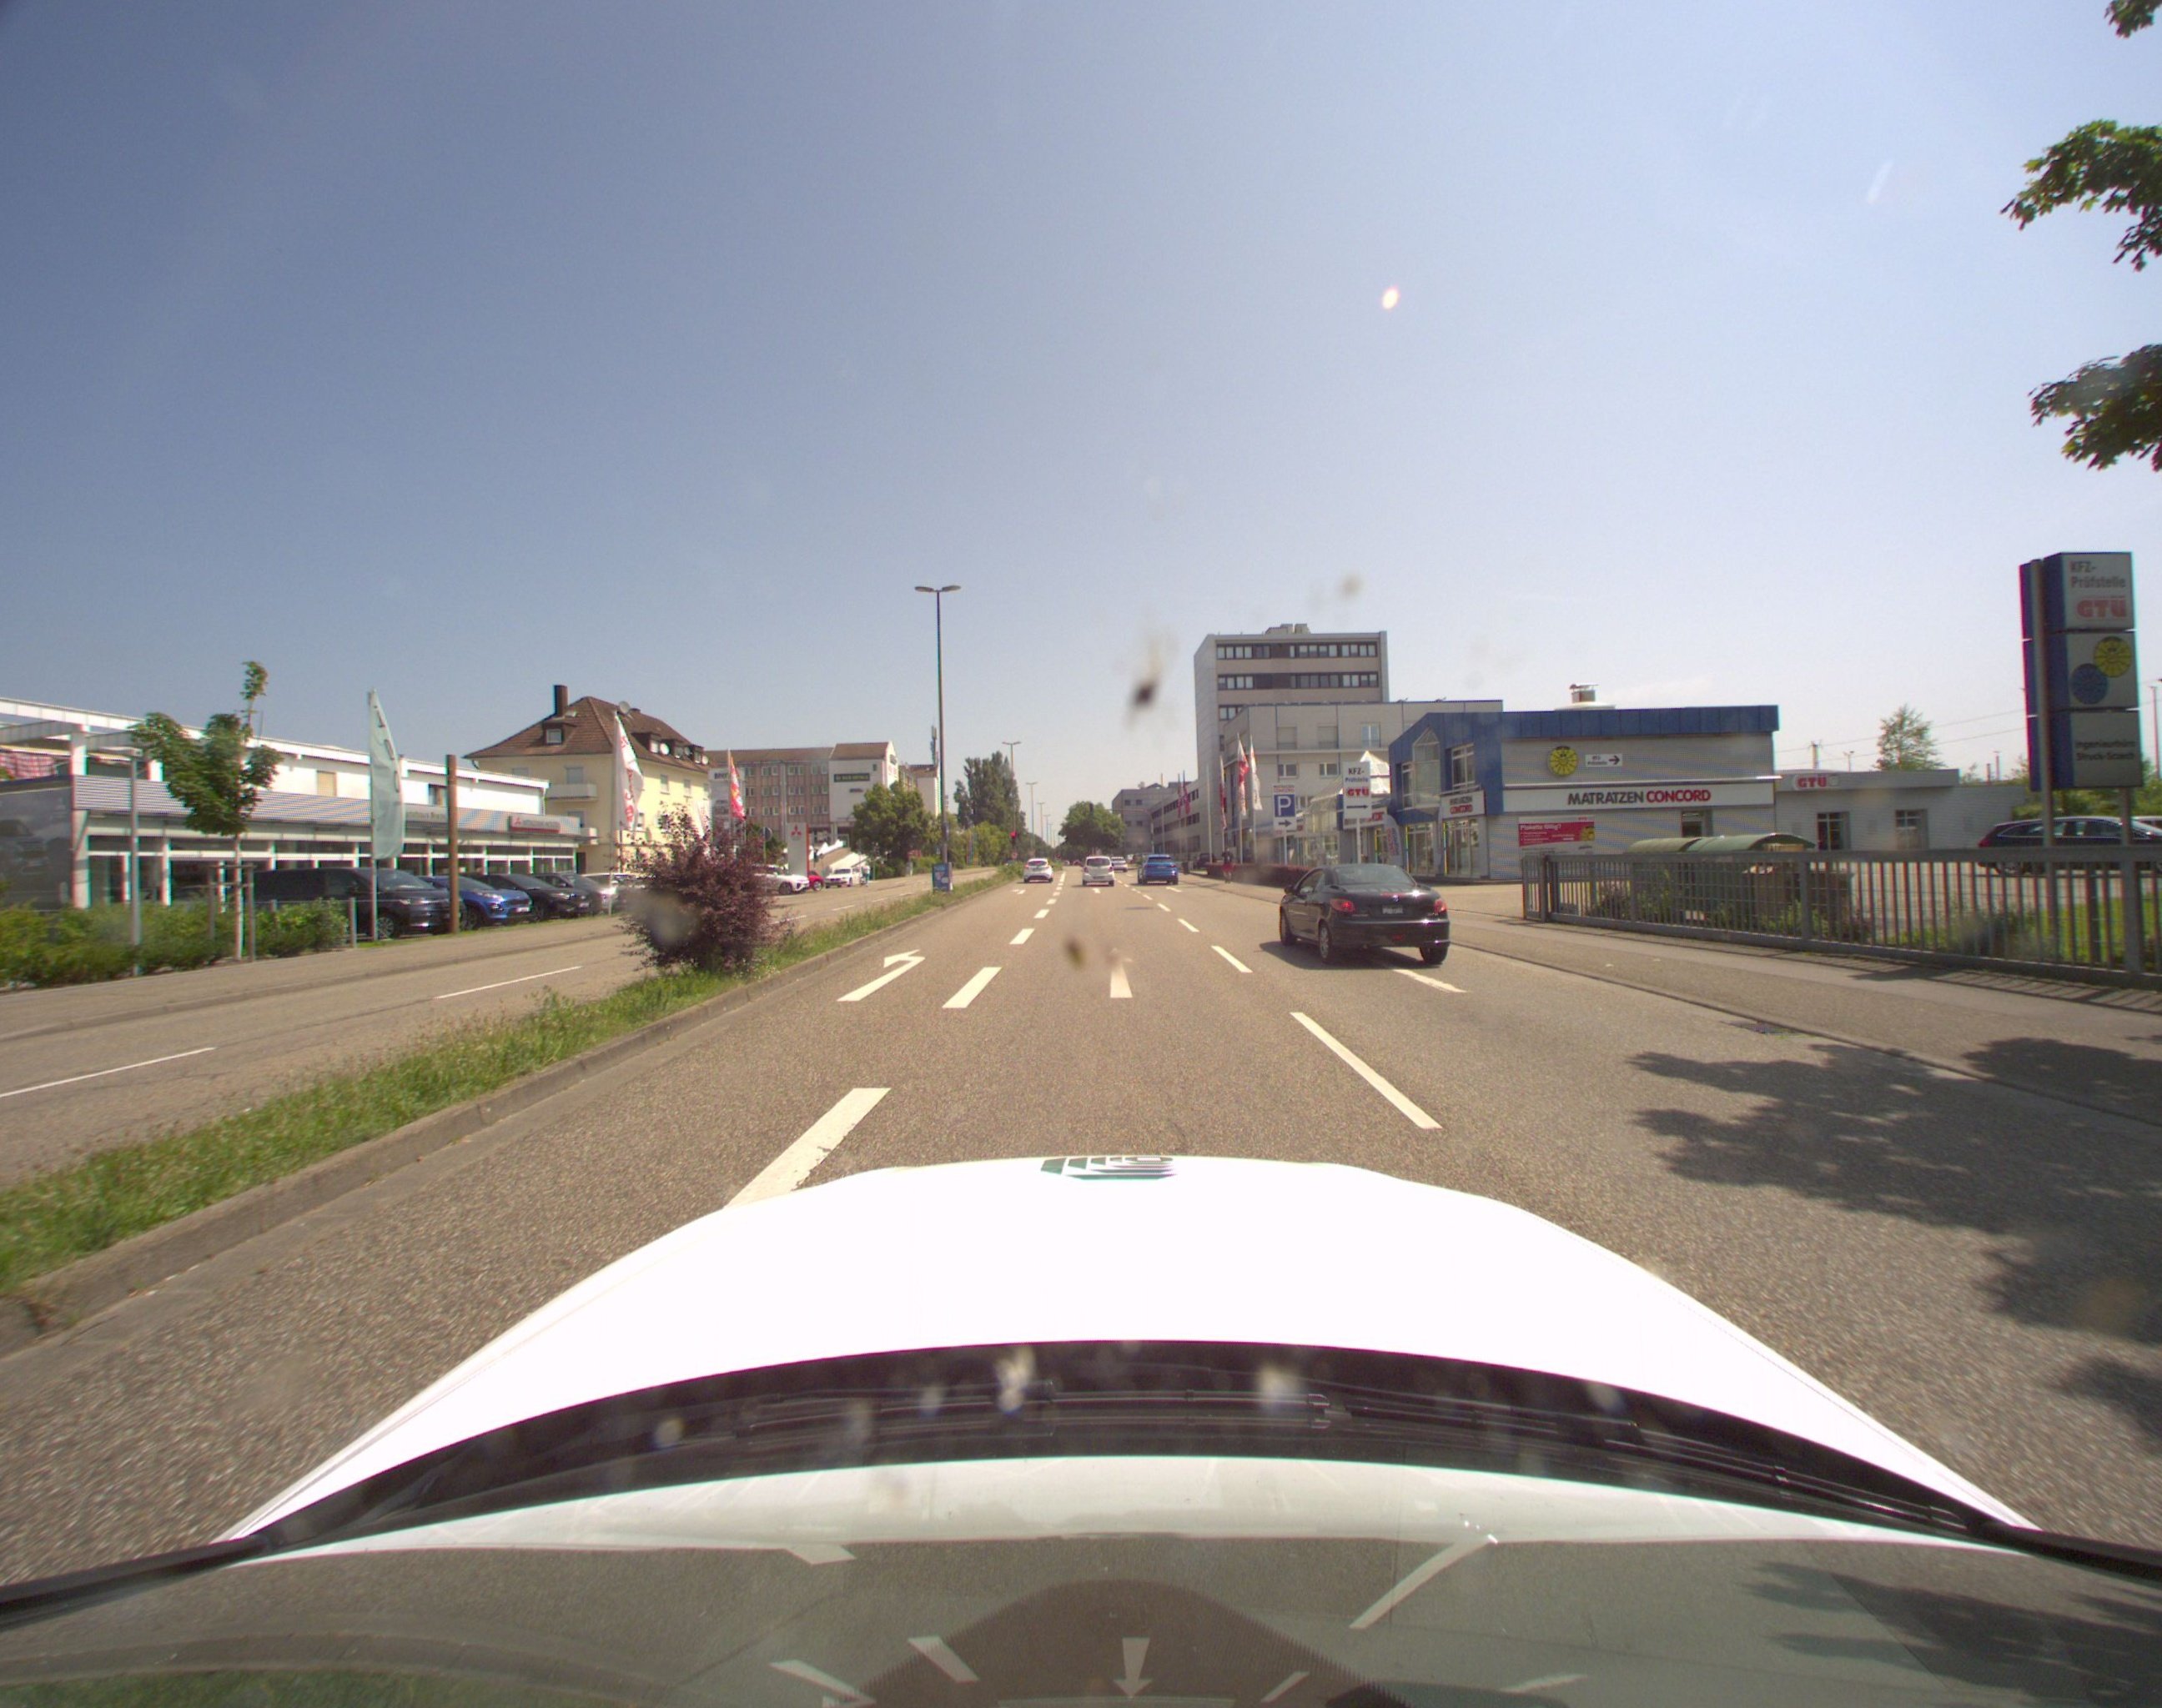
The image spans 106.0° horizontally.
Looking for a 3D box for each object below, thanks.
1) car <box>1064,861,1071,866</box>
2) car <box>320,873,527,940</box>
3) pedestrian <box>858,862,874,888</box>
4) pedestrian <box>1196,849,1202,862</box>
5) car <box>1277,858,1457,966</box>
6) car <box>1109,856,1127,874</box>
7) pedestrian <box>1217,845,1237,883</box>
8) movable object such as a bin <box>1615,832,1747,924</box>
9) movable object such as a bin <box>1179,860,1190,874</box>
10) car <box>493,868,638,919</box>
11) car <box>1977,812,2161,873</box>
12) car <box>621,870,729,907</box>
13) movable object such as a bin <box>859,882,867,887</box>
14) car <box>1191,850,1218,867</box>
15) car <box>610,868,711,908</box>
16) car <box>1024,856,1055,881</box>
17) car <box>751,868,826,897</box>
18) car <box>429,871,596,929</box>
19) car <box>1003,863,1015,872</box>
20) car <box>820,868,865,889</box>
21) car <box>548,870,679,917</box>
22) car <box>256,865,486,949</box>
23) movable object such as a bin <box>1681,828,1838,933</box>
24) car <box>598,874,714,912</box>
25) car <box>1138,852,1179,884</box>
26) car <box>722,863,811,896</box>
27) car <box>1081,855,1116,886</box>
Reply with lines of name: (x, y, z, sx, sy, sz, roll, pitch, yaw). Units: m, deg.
car: (-4.166, 2.970, 251.834, 1.815, 1.662, 3.997, -2, 0, -2)
car: (-18.282, 1.421, 22.824, 3.977, 1.608, 2.087, -2, 0, -3)
pedestrian: (-15.065, 1.484, 57.156, 0.738, 1.747, 1.034, -2, 0, 1)
pedestrian: (14.810, 0.160, 102.353, 0.590, 1.634, 0.524, -3, 0, 7)
car: (4.147, 0.765, 12.381, 1.620, 1.364, 3.608, -1, 0, 3)
car: (3.438, 0.986, 75.320, 1.553, 1.520, 3.607, -2, 0, 2)
pedestrian: (7.254, 0.506, 40.556, 0.782, 1.847, 0.936, -2, -1, 1)
movable object such as a bin: (10.360, 0.395, 14.140, 1.127, 1.470, 1.489, -2, 0, -1)
movable object such as a bin: (7.295, 0.903, 57.414, 0.549, 0.919, 0.652, -5, -1, -1)
car: (-18.346, 1.379, 29.128, 3.977, 1.568, 1.758, -2, 0, -3)
car: (26.470, -0.278, 21.172, 1.516, 1.472, 3.974, -2, 0, -19)
car: (-18.476, 1.535, 37.220, 3.977, 1.467, 1.758, -2, 0, -3)
movable object such as a bin: (-15.211, 2.127, 56.726, 0.415, 0.372, 0.506, -2, 0, 0)
car: (11.402, 0.442, 75.570, 1.838, 1.531, 4.195, 0, 0, -1)
car: (-20.091, 1.593, 38.987, 4.018, 1.624, 1.740, -2, 0, -37)
car: (-2.519, 0.866, 49.969, 1.683, 1.434, 3.710, -2, 0, -1)
car: (-18.913, 1.808, 52.746, 1.816, 1.642, 4.205, -2, 0, 37)
car: (-18.010, 1.430, 25.948, 3.977, 1.608, 1.758, -2, 0, -3)
car: (-12.516, 2.324, 141.879, 1.990, 1.486, 4.495, -2, 0, -4)
car: (-17.796, 1.795, 60.972, 1.769, 1.410, 4.761, -2, 0, 2)
car: (-18.373, 1.517, 32.180, 3.977, 1.608, 1.923, -2, 0, -3)
car: (-17.977, 1.297, 20.804, 3.977, 1.882, 1.998, -2, 0, -3)
movable object such as a bin: (10.352, 0.387, 12.515, 1.127, 1.470, 1.489, -2, 0, -1)
car: (-18.263, 1.649, 35.154, 3.977, 1.394, 1.858, -2, 0, -3)
car: (4.034, 0.717, 42.843, 1.822, 1.580, 3.605, -2, 0, 0)
car: (-18.642, 1.485, 48.485, 4.535, 1.709, 1.758, -2, 0, -3)
car: (0.894, 0.811, 42.663, 1.742, 1.520, 3.745, -1, 0, 0)
